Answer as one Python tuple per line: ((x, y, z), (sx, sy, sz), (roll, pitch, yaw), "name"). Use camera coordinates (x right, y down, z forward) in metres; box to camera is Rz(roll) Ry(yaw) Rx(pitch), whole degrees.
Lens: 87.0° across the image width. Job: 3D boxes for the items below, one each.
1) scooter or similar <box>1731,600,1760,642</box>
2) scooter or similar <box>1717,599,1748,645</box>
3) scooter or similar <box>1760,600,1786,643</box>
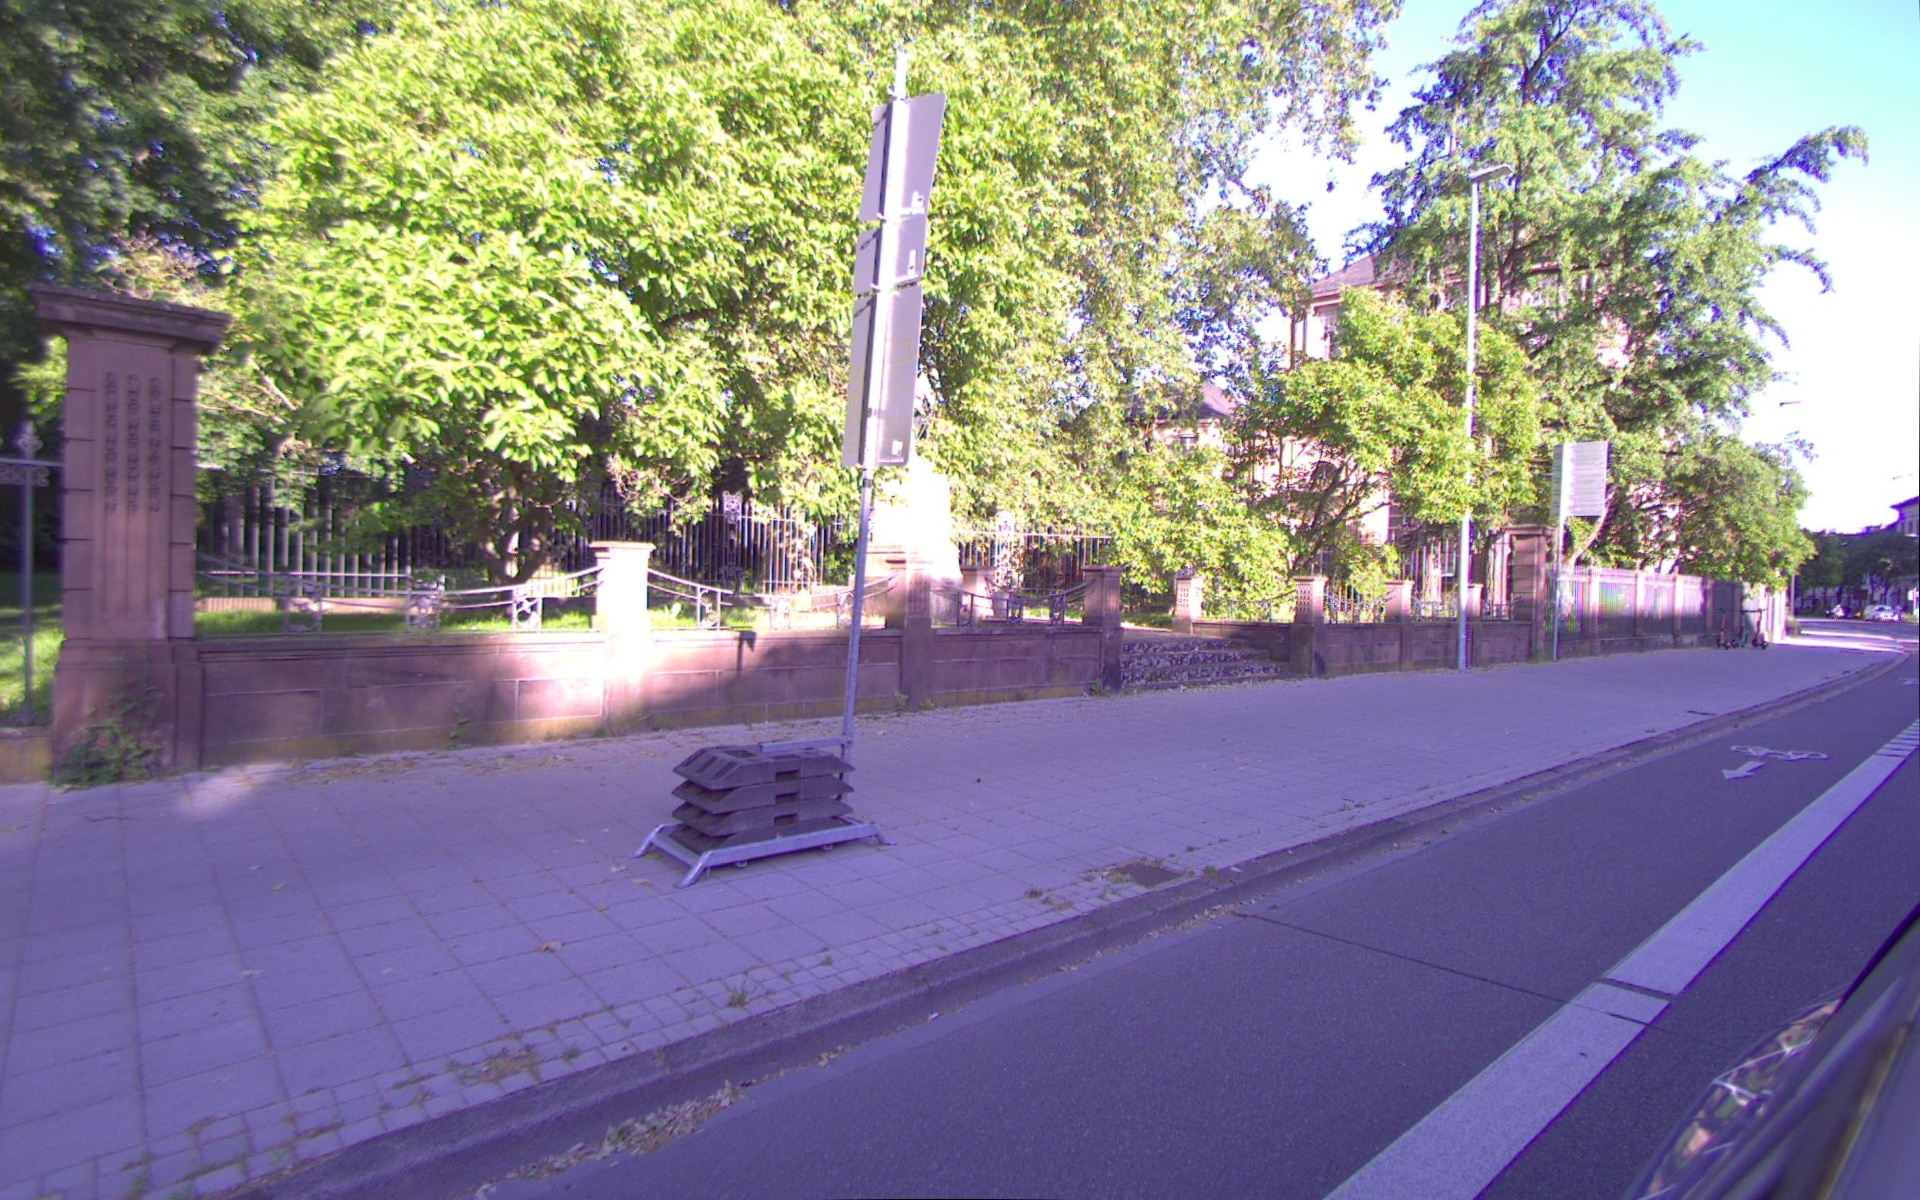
((23.631, 0.626, 30.438), (0.574, 1.199, 1.465), (3, 2, 41), "scooter or similar")
((22.283, 0.609, 29.213), (0.572, 1.269, 1.470), (2, 2, 33), "scooter or similar")
((24.730, 0.637, 30.787), (0.514, 1.255, 1.502), (2, 2, 37), "scooter or similar")
